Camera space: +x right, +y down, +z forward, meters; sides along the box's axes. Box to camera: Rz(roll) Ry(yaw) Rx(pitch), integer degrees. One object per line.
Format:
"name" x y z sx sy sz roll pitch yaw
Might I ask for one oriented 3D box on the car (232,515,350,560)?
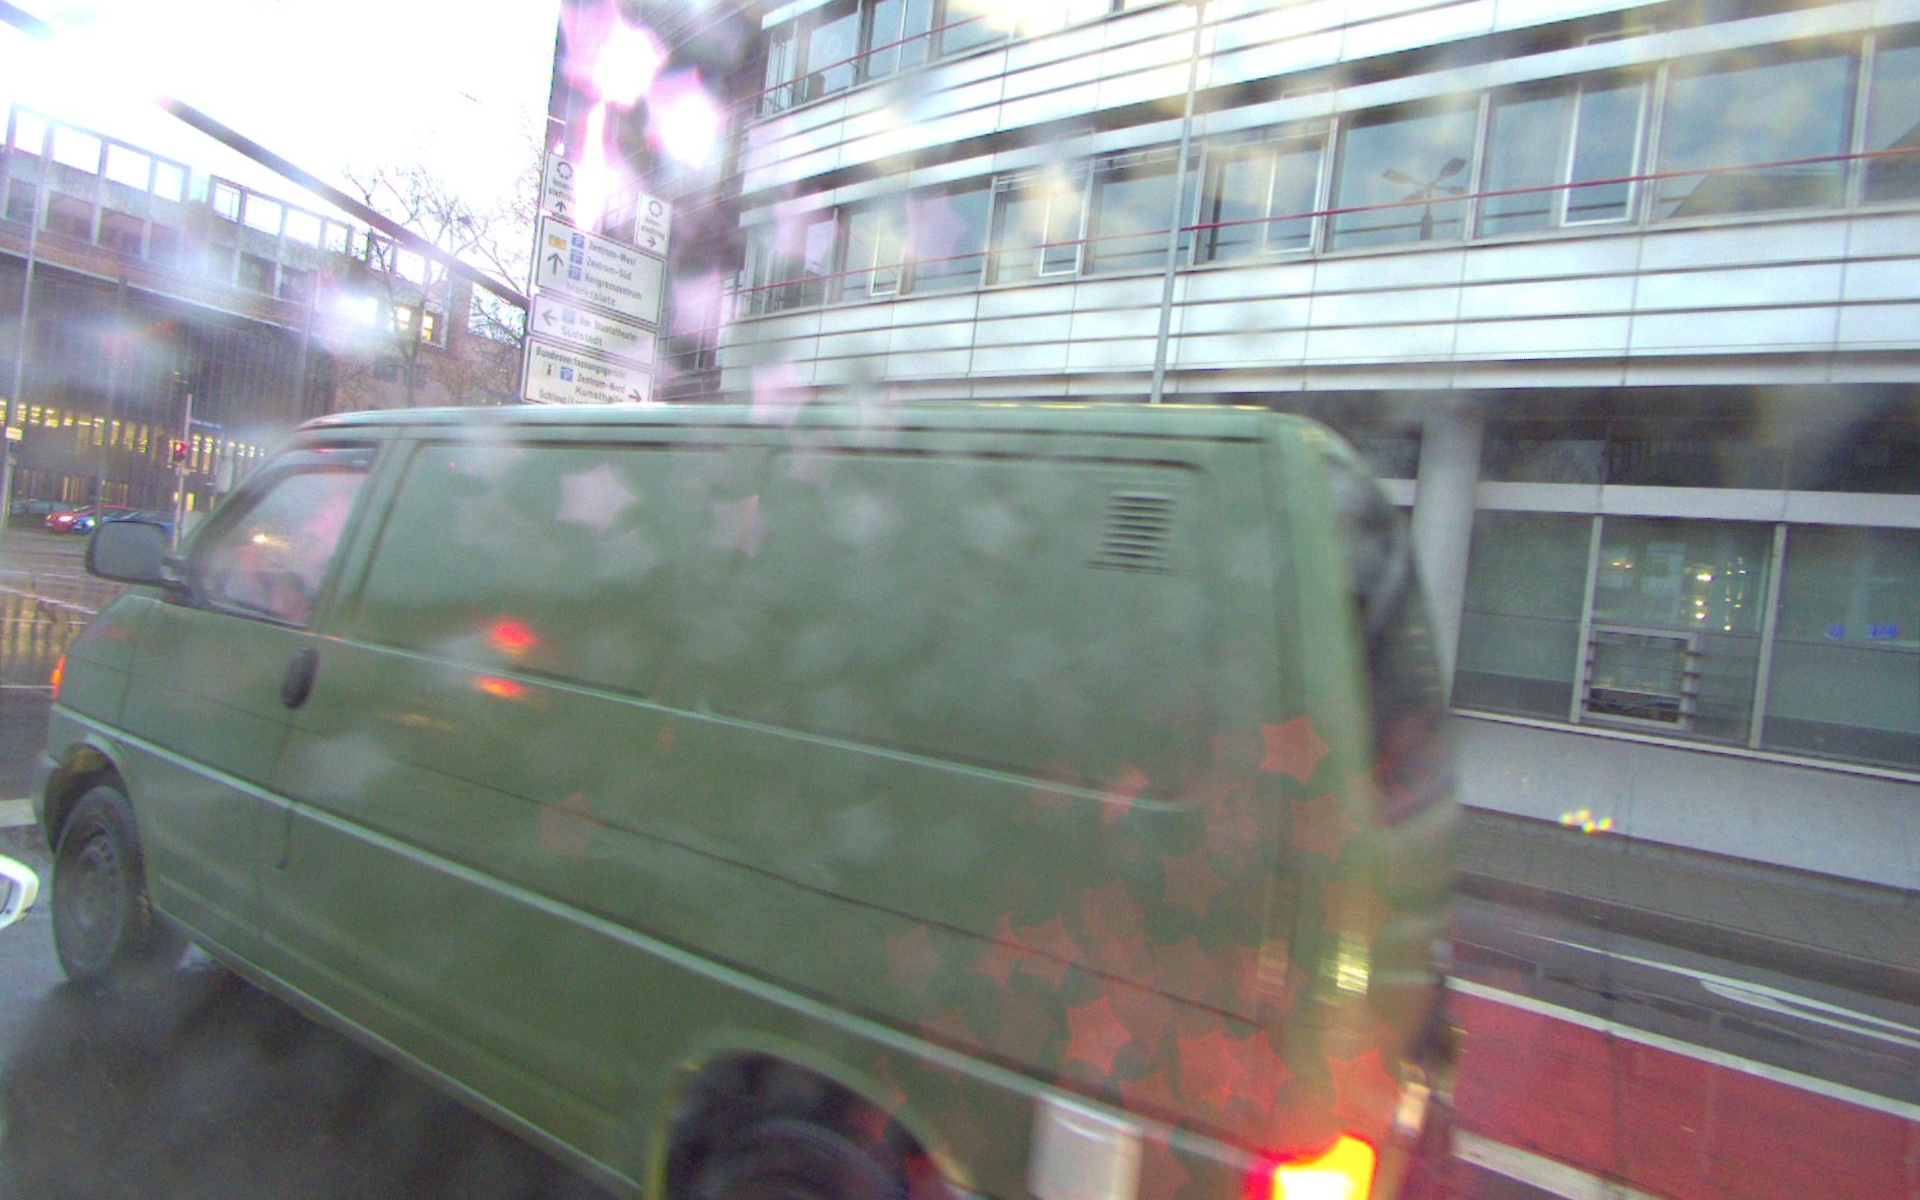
"car" -30.311 -2.790 45.717 1.814 1.304 3.997 11 1 26

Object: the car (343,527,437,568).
"car" -30.849 -2.836 54.543 1.814 1.523 3.997 11 1 26

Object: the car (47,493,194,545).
"car" -33.110 -3.165 39.793 1.814 1.278 3.997 11 1 26

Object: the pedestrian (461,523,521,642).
"pedestrian" -9.062 -0.333 19.435 0.609 2.210 0.576 6 0 26

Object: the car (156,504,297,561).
"car" -28.975 -2.635 39.855 1.814 1.523 3.997 11 1 26

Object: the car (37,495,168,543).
"car" -36.155 -3.387 42.509 1.814 1.278 3.729 11 1 26

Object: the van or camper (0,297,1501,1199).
"van or camper" -0.968 0.473 3.053 4.345 1.929 1.760 7 -1 32
